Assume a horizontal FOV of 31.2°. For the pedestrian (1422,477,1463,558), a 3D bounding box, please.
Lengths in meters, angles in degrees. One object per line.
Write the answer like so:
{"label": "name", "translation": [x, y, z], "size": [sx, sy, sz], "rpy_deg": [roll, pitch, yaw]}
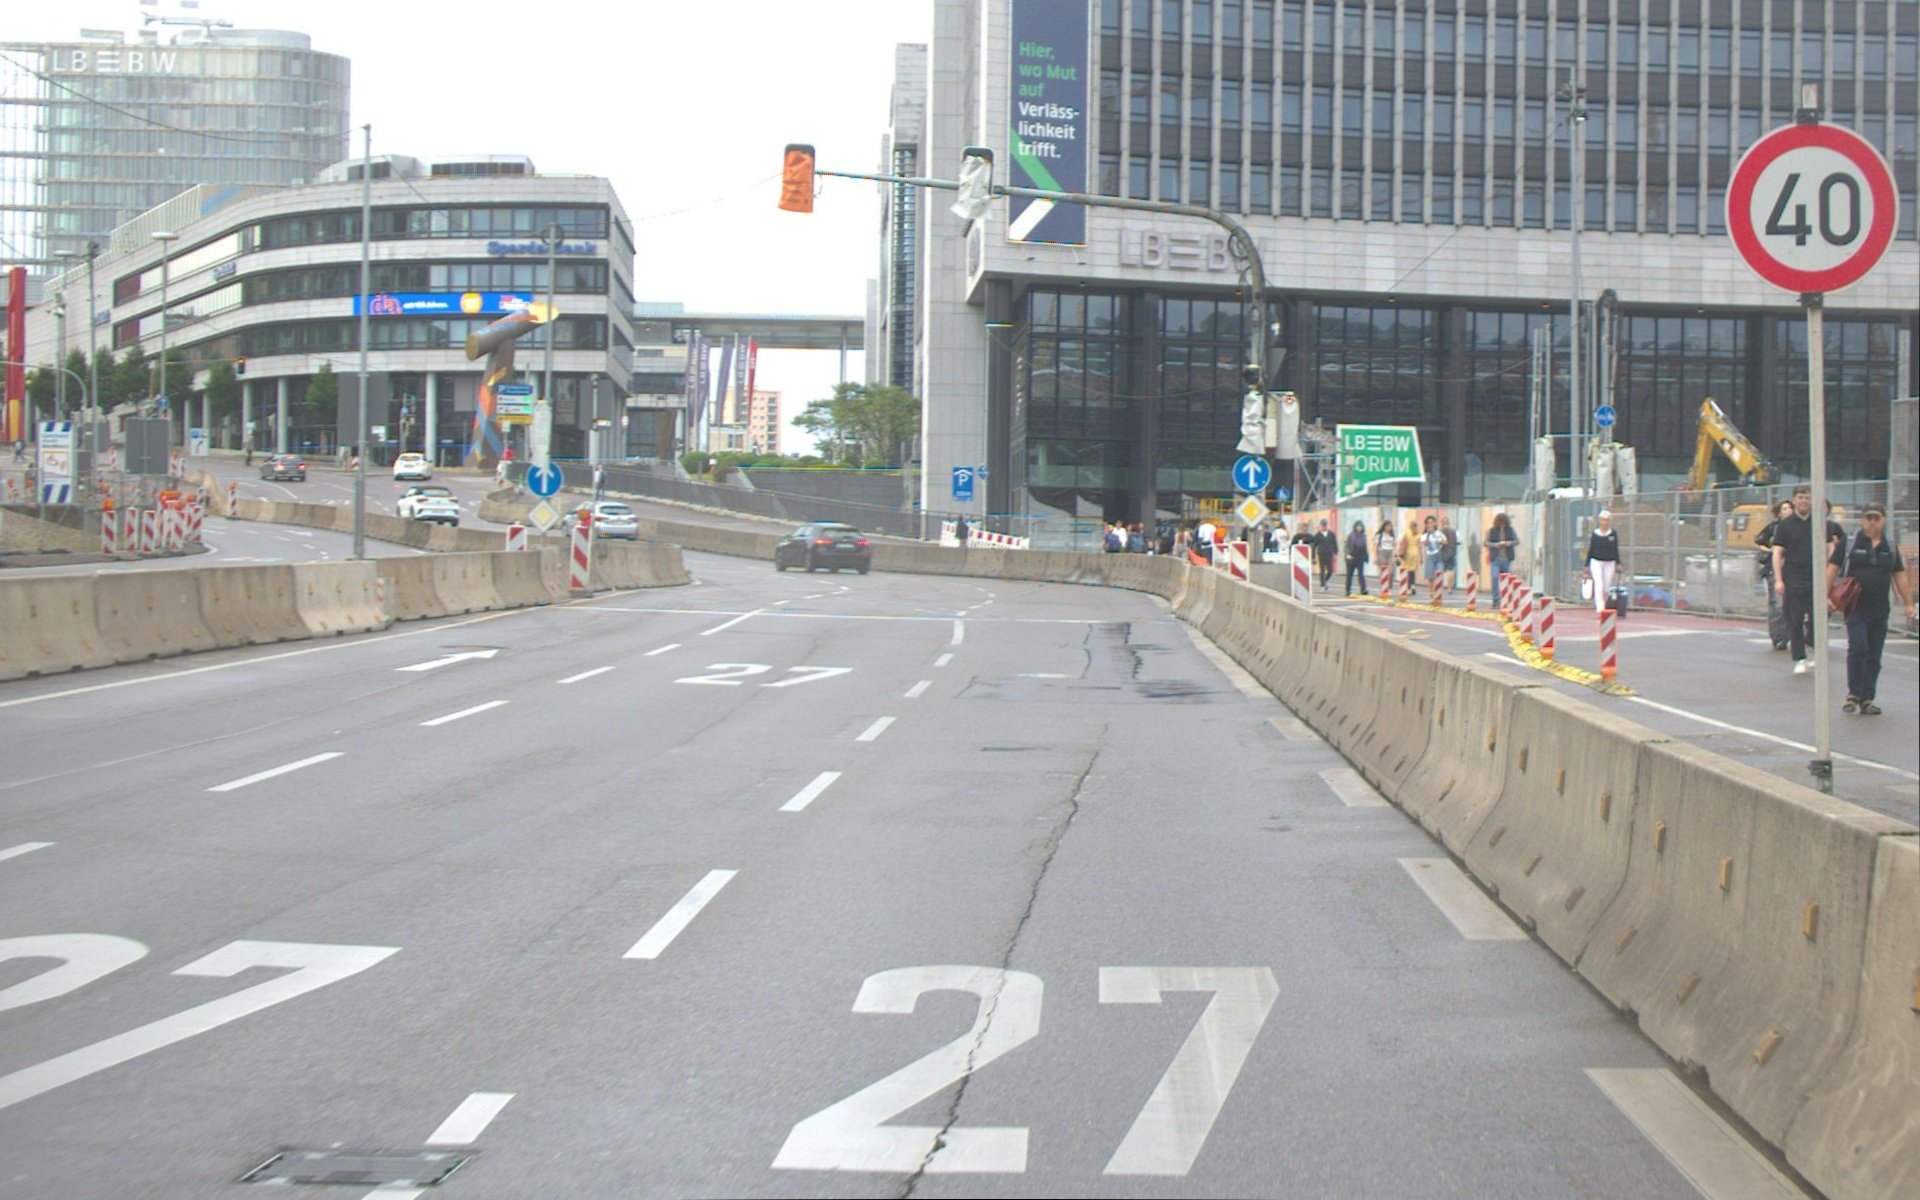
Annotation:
{"label": "pedestrian", "translation": [11.136, -1.906, 79.349], "size": [0.779, 1.855, 0.812], "rpy_deg": [0, 2, -3]}

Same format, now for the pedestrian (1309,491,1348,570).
{"label": "pedestrian", "translation": [8.813, -1.670, 82.244], "size": [0.779, 1.855, 0.812], "rpy_deg": [1, 2, -3]}

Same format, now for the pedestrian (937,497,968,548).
{"label": "pedestrian", "translation": [-0.258, -2.753, 122.437], "size": [0.756, 1.784, 1.057], "rpy_deg": [1, 1, -20]}

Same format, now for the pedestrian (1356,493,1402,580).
{"label": "pedestrian", "translation": [9.156, -1.398, 75.143], "size": [0.779, 1.855, 1.058], "rpy_deg": [1, 2, -3]}

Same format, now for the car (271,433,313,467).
{"label": "car", "translation": [-36.072, -8.098, 185.586], "size": [1.993, 1.798, 4.267], "rpy_deg": [1, 2, -13]}

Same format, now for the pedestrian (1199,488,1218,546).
{"label": "pedestrian", "translation": [7.802, -2.601, 108.050], "size": [0.529, 1.812, 0.536], "rpy_deg": [1, 2, 1]}

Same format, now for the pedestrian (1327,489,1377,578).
{"label": "pedestrian", "translation": [8.353, -1.420, 73.367], "size": [0.869, 1.855, 0.949], "rpy_deg": [1, 2, -3]}

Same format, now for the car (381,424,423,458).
{"label": "car", "translation": [-30.782, -8.780, 189.625], "size": [1.993, 1.798, 4.267], "rpy_deg": [1, 2, -13]}

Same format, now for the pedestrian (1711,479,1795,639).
{"label": "pedestrian", "translation": [9.182, -0.477, 39.819], "size": [0.796, 1.827, 0.626], "rpy_deg": [1, 1, 3]}

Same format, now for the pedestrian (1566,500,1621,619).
{"label": "pedestrian", "translation": [10.029, -0.651, 54.415], "size": [0.664, 1.855, 0.683], "rpy_deg": [1, 2, -3]}

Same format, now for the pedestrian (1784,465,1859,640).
{"label": "pedestrian", "translation": [10.066, -0.562, 40.194], "size": [0.679, 2.006, 0.686], "rpy_deg": [1, 3, 2]}

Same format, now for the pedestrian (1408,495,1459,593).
{"label": "pedestrian", "translation": [9.184, -1.095, 66.714], "size": [0.779, 1.855, 0.949], "rpy_deg": [1, 2, -3]}

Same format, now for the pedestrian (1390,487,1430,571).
{"label": "pedestrian", "translation": [10.033, -1.586, 76.686], "size": [0.732, 1.847, 0.831], "rpy_deg": [1, 1, -1]}

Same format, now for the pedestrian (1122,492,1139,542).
{"label": "pedestrian", "translation": [5.870, -2.871, 118.221], "size": [0.453, 1.699, 0.647], "rpy_deg": [1, 2, -4]}

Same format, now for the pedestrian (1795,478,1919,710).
{"label": "pedestrian", "translation": [7.280, -0.057, 27.677], "size": [0.925, 1.827, 0.686], "rpy_deg": [1, 1, 3]}

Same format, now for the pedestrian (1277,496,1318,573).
{"label": "pedestrian", "translation": [7.972, -1.550, 81.225], "size": [0.819, 1.821, 1.111], "rpy_deg": [0, 1, -2]}

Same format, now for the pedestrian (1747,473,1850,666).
{"label": "pedestrian", "translation": [8.319, -0.309, 34.134], "size": [0.796, 1.871, 0.820], "rpy_deg": [1, 1, 3]}

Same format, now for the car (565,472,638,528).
{"label": "car", "translation": [-12.575, -3.515, 120.353], "size": [1.738, 1.869, 3.779], "rpy_deg": [0, 2, -18]}

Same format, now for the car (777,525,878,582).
{"label": "car", "translation": [-3.746, -1.292, 96.524], "size": [1.674, 1.503, 3.746], "rpy_deg": [1, -1, -21]}

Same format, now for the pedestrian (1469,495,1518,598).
{"label": "pedestrian", "translation": [9.746, -0.983, 62.841], "size": [0.689, 1.855, 0.812], "rpy_deg": [1, 2, -3]}

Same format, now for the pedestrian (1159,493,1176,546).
{"label": "pedestrian", "translation": [6.752, -2.616, 111.735], "size": [0.448, 1.699, 0.646], "rpy_deg": [2, 2, 9]}

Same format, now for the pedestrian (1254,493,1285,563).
{"label": "pedestrian", "translation": [8.968, -2.091, 99.599], "size": [0.784, 2.006, 0.863], "rpy_deg": [2, 2, 7]}

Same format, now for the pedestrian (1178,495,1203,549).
{"label": "pedestrian", "translation": [7.371, -2.483, 109.843], "size": [0.511, 1.699, 0.574], "rpy_deg": [0, 3, -36]}

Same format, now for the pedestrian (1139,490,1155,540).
{"label": "pedestrian", "translation": [6.437, -2.938, 118.271], "size": [0.448, 1.699, 0.647], "rpy_deg": [1, 2, -4]}

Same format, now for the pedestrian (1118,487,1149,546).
{"label": "pedestrian", "translation": [4.847, -2.338, 95.976], "size": [0.658, 1.636, 0.824], "rpy_deg": [1, 2, -11]}

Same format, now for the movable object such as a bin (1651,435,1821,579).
{"label": "movable object such as a bin", "translation": [22.308, -2.684, 98.952], "size": [3.086, 4.016, 3.698], "rpy_deg": [1, 1, -22]}

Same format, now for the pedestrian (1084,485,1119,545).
{"label": "pedestrian", "translation": [3.945, -2.374, 95.794], "size": [0.750, 1.636, 0.824], "rpy_deg": [1, 2, -11]}

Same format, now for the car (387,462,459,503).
{"label": "car", "translation": [-20.561, -4.498, 131.606], "size": [1.741, 1.501, 3.755], "rpy_deg": [1, 2, -25]}
